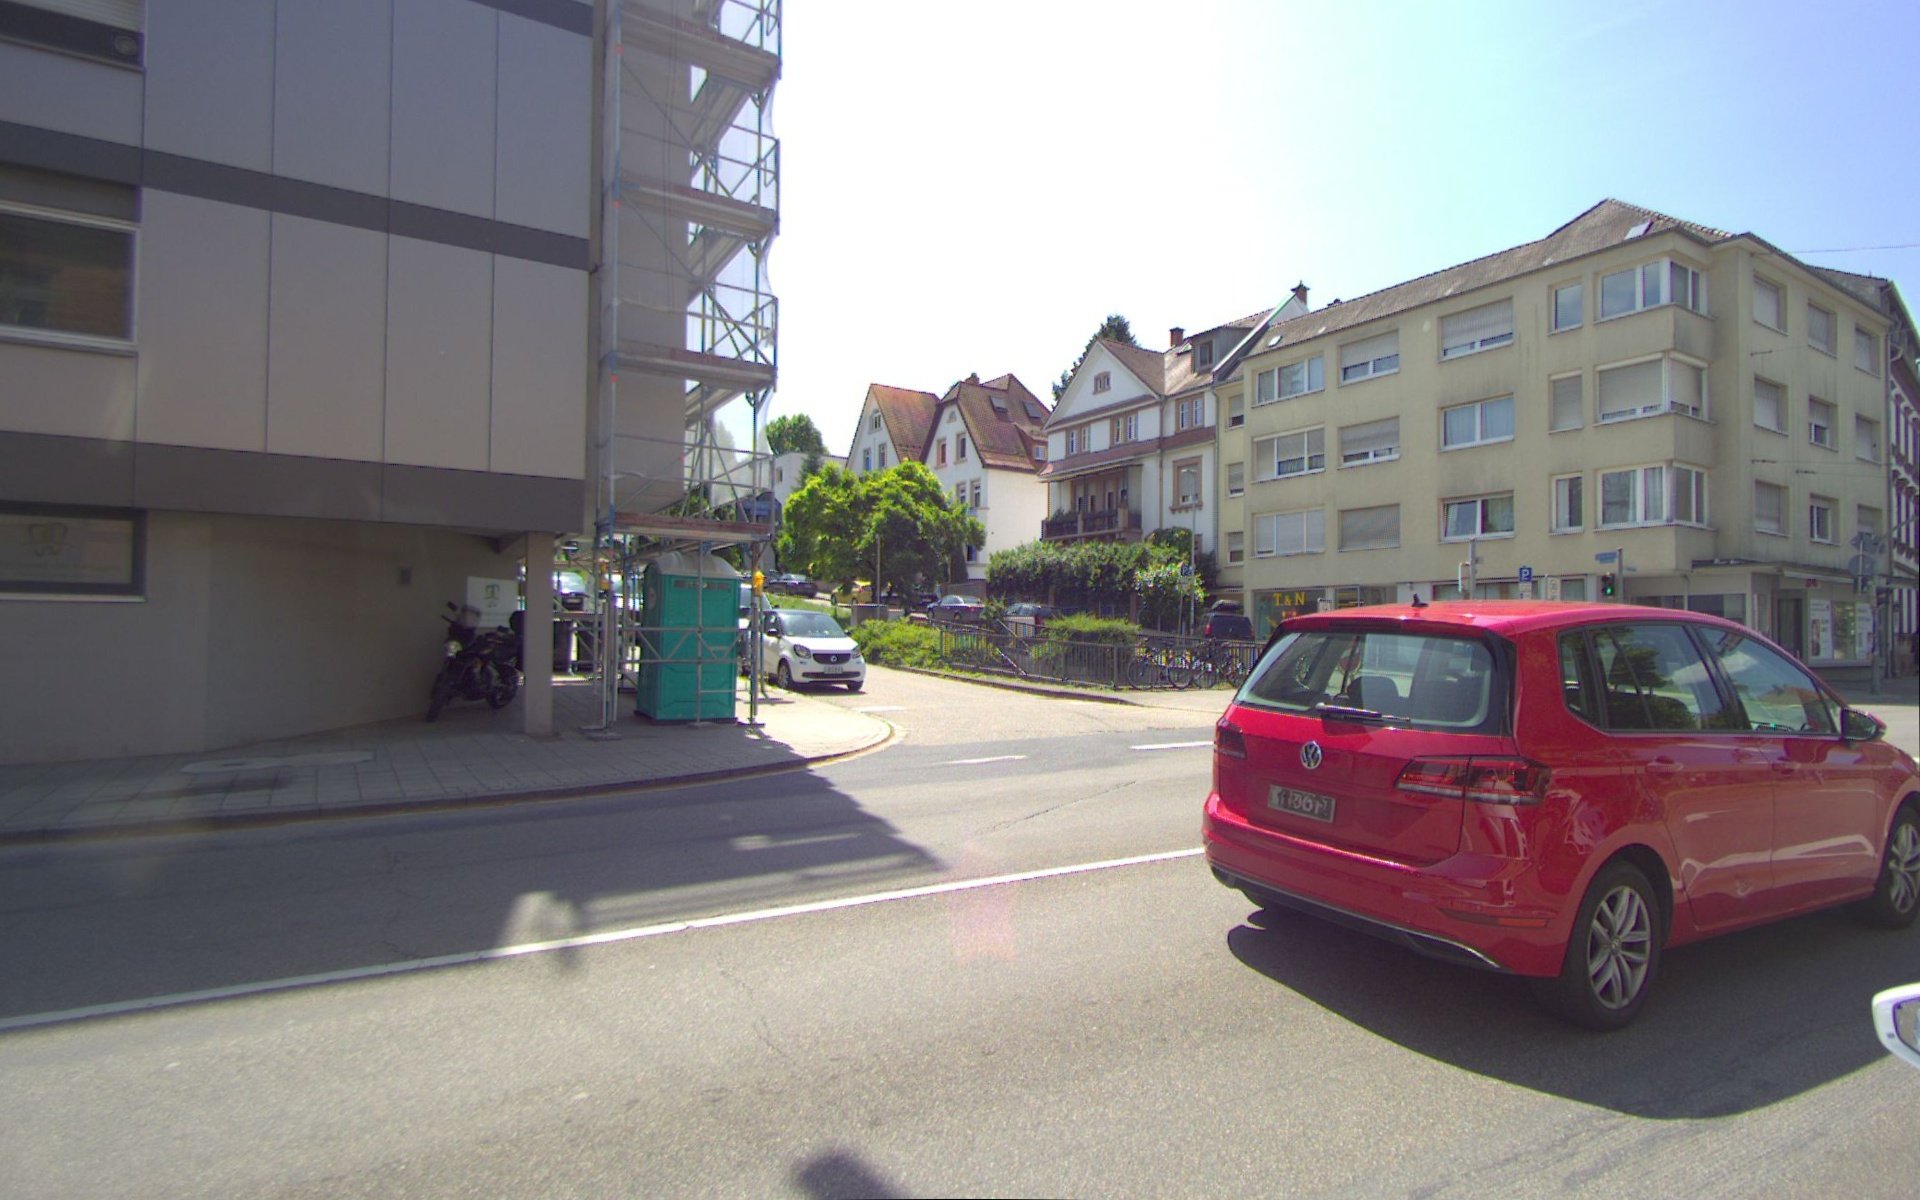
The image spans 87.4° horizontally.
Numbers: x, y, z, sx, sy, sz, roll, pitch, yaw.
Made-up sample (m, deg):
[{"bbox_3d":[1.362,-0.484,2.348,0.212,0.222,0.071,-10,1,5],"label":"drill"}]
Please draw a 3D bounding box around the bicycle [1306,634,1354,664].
[{"bbox_3d":[13.432,1.756,36.520,0.493,1.040,1.728,1,-1,-31],"label":"bicycle"}]

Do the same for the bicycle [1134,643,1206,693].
[{"bbox_3d":[4.325,1.386,20.655,1.701,0.980,0.394,2,-1,-35],"label":"bicycle"}]

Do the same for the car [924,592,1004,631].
[{"bbox_3d":[0.152,0.511,46.712,1.790,1.571,3.963,2,2,-33],"label":"car"}]

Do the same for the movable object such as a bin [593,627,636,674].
[{"bbox_3d":[-7.123,1.038,20.701,0.695,0.939,0.735,1,-1,-29],"label":"movable object such as a bin"}]

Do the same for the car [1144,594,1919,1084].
[{"bbox_3d":[3.049,0.829,5.028,3.990,1.578,1.790,2,-1,-30],"label":"car"}]

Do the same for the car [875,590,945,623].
[{"bbox_3d":[-2.591,0.304,50.915,1.790,1.406,3.963,2,2,-33],"label":"car"}]

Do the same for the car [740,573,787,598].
[{"bbox_3d":[-13.475,-1.001,68.708,1.839,1.439,3.963,2,2,-33],"label":"car"}]

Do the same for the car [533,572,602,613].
[{"bbox_3d":[-16.200,-0.336,41.361,1.741,1.467,3.701,1,2,-36],"label":"car"}]

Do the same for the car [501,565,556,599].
[{"bbox_3d":[-21.372,-0.910,49.686,1.741,1.467,3.701,1,2,-36],"label":"car"}]

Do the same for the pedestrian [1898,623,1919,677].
[{"bbox_3d":[35.132,1.837,36.866,0.970,1.957,0.926,2,-2,-42],"label":"pedestrian"}]

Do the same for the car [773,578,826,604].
[{"bbox_3d":[-10.207,-0.563,63.788,1.839,1.439,3.963,2,2,-33],"label":"car"}]

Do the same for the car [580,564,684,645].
[{"bbox_3d":[-10.045,0.065,30.498,2.050,2.206,4.973,2,2,-29],"label":"car"}]

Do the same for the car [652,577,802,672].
[{"bbox_3d":[-6.008,0.535,25.442,1.980,2.041,4.962,1,2,-35],"label":"car"}]

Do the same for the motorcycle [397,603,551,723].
[{"bbox_3d":[-6.511,0.808,13.609,0.864,1.491,2.044,1,-1,8],"label":"motorcycle"}]

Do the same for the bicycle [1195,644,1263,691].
[{"bbox_3d":[5.831,1.439,21.745,1.729,0.980,0.394,2,-1,-35],"label":"bicycle"}]

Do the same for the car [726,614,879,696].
[{"bbox_3d":[-3.323,1.064,20.706,1.739,1.466,3.705,1,-1,-33],"label":"car"}]

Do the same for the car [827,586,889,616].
[{"bbox_3d":[-5.721,0.056,55.925,1.790,1.439,3.963,2,2,-33],"label":"car"}]

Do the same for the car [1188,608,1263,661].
[{"bbox_3d":[9.093,1.190,34.712,1.959,1.686,4.333,1,-2,8],"label":"car"}]

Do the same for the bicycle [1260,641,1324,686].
[{"bbox_3d":[7.580,1.442,22.900,1.766,0.980,0.394,2,-1,-35],"label":"bicycle"}]

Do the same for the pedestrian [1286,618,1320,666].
[{"bbox_3d":[12.085,1.487,35.421,0.813,1.654,0.798,1,-1,-30],"label":"pedestrian"}]

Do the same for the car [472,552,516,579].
[{"bbox_3d":[-28.325,-2.117,61.054,1.741,1.467,3.701,1,2,-36],"label":"car"}]

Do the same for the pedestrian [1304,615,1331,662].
[{"bbox_3d":[12.751,1.385,35.823,0.641,1.654,0.683,1,-1,-29],"label":"pedestrian"}]

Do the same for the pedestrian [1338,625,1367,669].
[{"bbox_3d":[13.482,1.603,34.482,0.641,1.495,0.683,1,-1,-29],"label":"pedestrian"}]

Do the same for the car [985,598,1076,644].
[{"bbox_3d":[2.935,0.850,42.455,1.790,1.637,3.963,2,2,-33],"label":"car"}]

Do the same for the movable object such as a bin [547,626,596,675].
[{"bbox_3d":[-7.847,1.009,20.265,0.816,0.939,0.735,1,-1,-29],"label":"movable object such as a bin"}]
